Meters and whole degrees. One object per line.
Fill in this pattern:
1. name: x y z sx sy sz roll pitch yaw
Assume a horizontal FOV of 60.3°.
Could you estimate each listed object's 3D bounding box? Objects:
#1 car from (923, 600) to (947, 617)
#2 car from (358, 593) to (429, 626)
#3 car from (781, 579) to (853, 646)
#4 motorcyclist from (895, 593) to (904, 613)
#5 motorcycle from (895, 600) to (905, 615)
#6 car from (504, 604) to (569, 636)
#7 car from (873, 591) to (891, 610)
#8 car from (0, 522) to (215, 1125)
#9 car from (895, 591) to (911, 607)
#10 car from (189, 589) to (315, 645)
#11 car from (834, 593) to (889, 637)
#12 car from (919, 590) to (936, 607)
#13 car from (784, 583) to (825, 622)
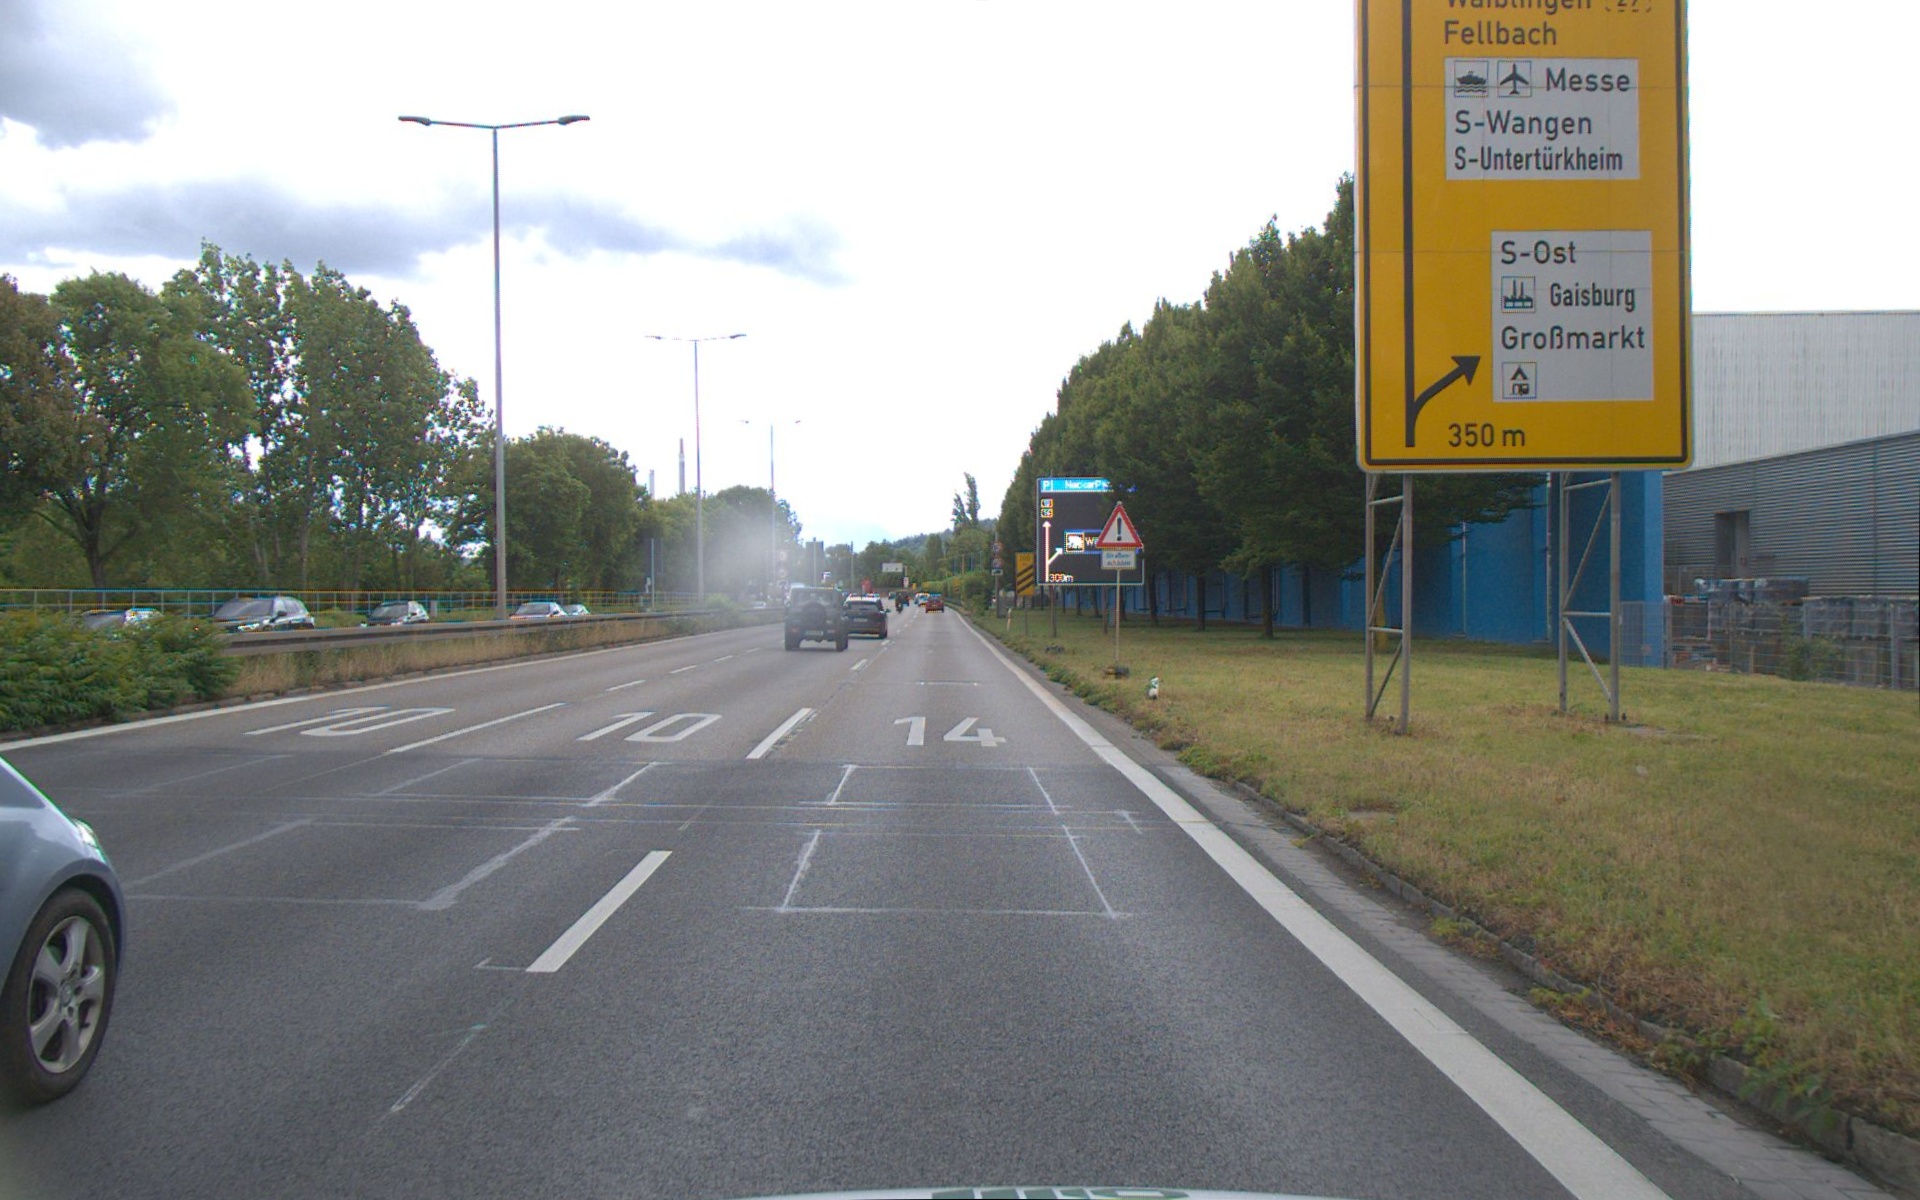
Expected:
1. car: -2.201 0.753 145.265 1.935 1.448 4.898 -2 0 -2
2. car: -23.165 0.374 67.742 1.546 1.322 4.060 0 0 -1
3. car: -3.930 0.323 45.905 1.663 1.715 3.999 2 0 -1
4. motorcyclist: -5.287 0.260 145.416 0.775 1.791 0.923 0 0 -1
5. motorcycle: -5.286 0.666 145.328 0.775 1.240 2.329 0 0 -1
6. car: -16.259 0.745 63.700 1.514 1.125 4.066 0 0 -1
7. car: -7.574 0.036 160.062 1.664 1.772 4.390 -2 0 -4
8. car: -3.390 0.586 3.514 1.841 1.566 4.145 0 0 -2
9. car: -7.383 -0.150 214.584 1.973 1.968 4.898 -2 0 -2
10. car: -19.186 0.426 45.014 1.740 1.443 4.066 0 0 -1
11. car: -3.533 0.527 59.896 1.808 1.448 4.898 -2 0 -2
12. car: -4.013 -0.176 201.128 1.973 1.968 4.898 -2 0 -2
13. car: -7.482 0.102 79.862 1.663 1.772 3.999 2 0 -2
